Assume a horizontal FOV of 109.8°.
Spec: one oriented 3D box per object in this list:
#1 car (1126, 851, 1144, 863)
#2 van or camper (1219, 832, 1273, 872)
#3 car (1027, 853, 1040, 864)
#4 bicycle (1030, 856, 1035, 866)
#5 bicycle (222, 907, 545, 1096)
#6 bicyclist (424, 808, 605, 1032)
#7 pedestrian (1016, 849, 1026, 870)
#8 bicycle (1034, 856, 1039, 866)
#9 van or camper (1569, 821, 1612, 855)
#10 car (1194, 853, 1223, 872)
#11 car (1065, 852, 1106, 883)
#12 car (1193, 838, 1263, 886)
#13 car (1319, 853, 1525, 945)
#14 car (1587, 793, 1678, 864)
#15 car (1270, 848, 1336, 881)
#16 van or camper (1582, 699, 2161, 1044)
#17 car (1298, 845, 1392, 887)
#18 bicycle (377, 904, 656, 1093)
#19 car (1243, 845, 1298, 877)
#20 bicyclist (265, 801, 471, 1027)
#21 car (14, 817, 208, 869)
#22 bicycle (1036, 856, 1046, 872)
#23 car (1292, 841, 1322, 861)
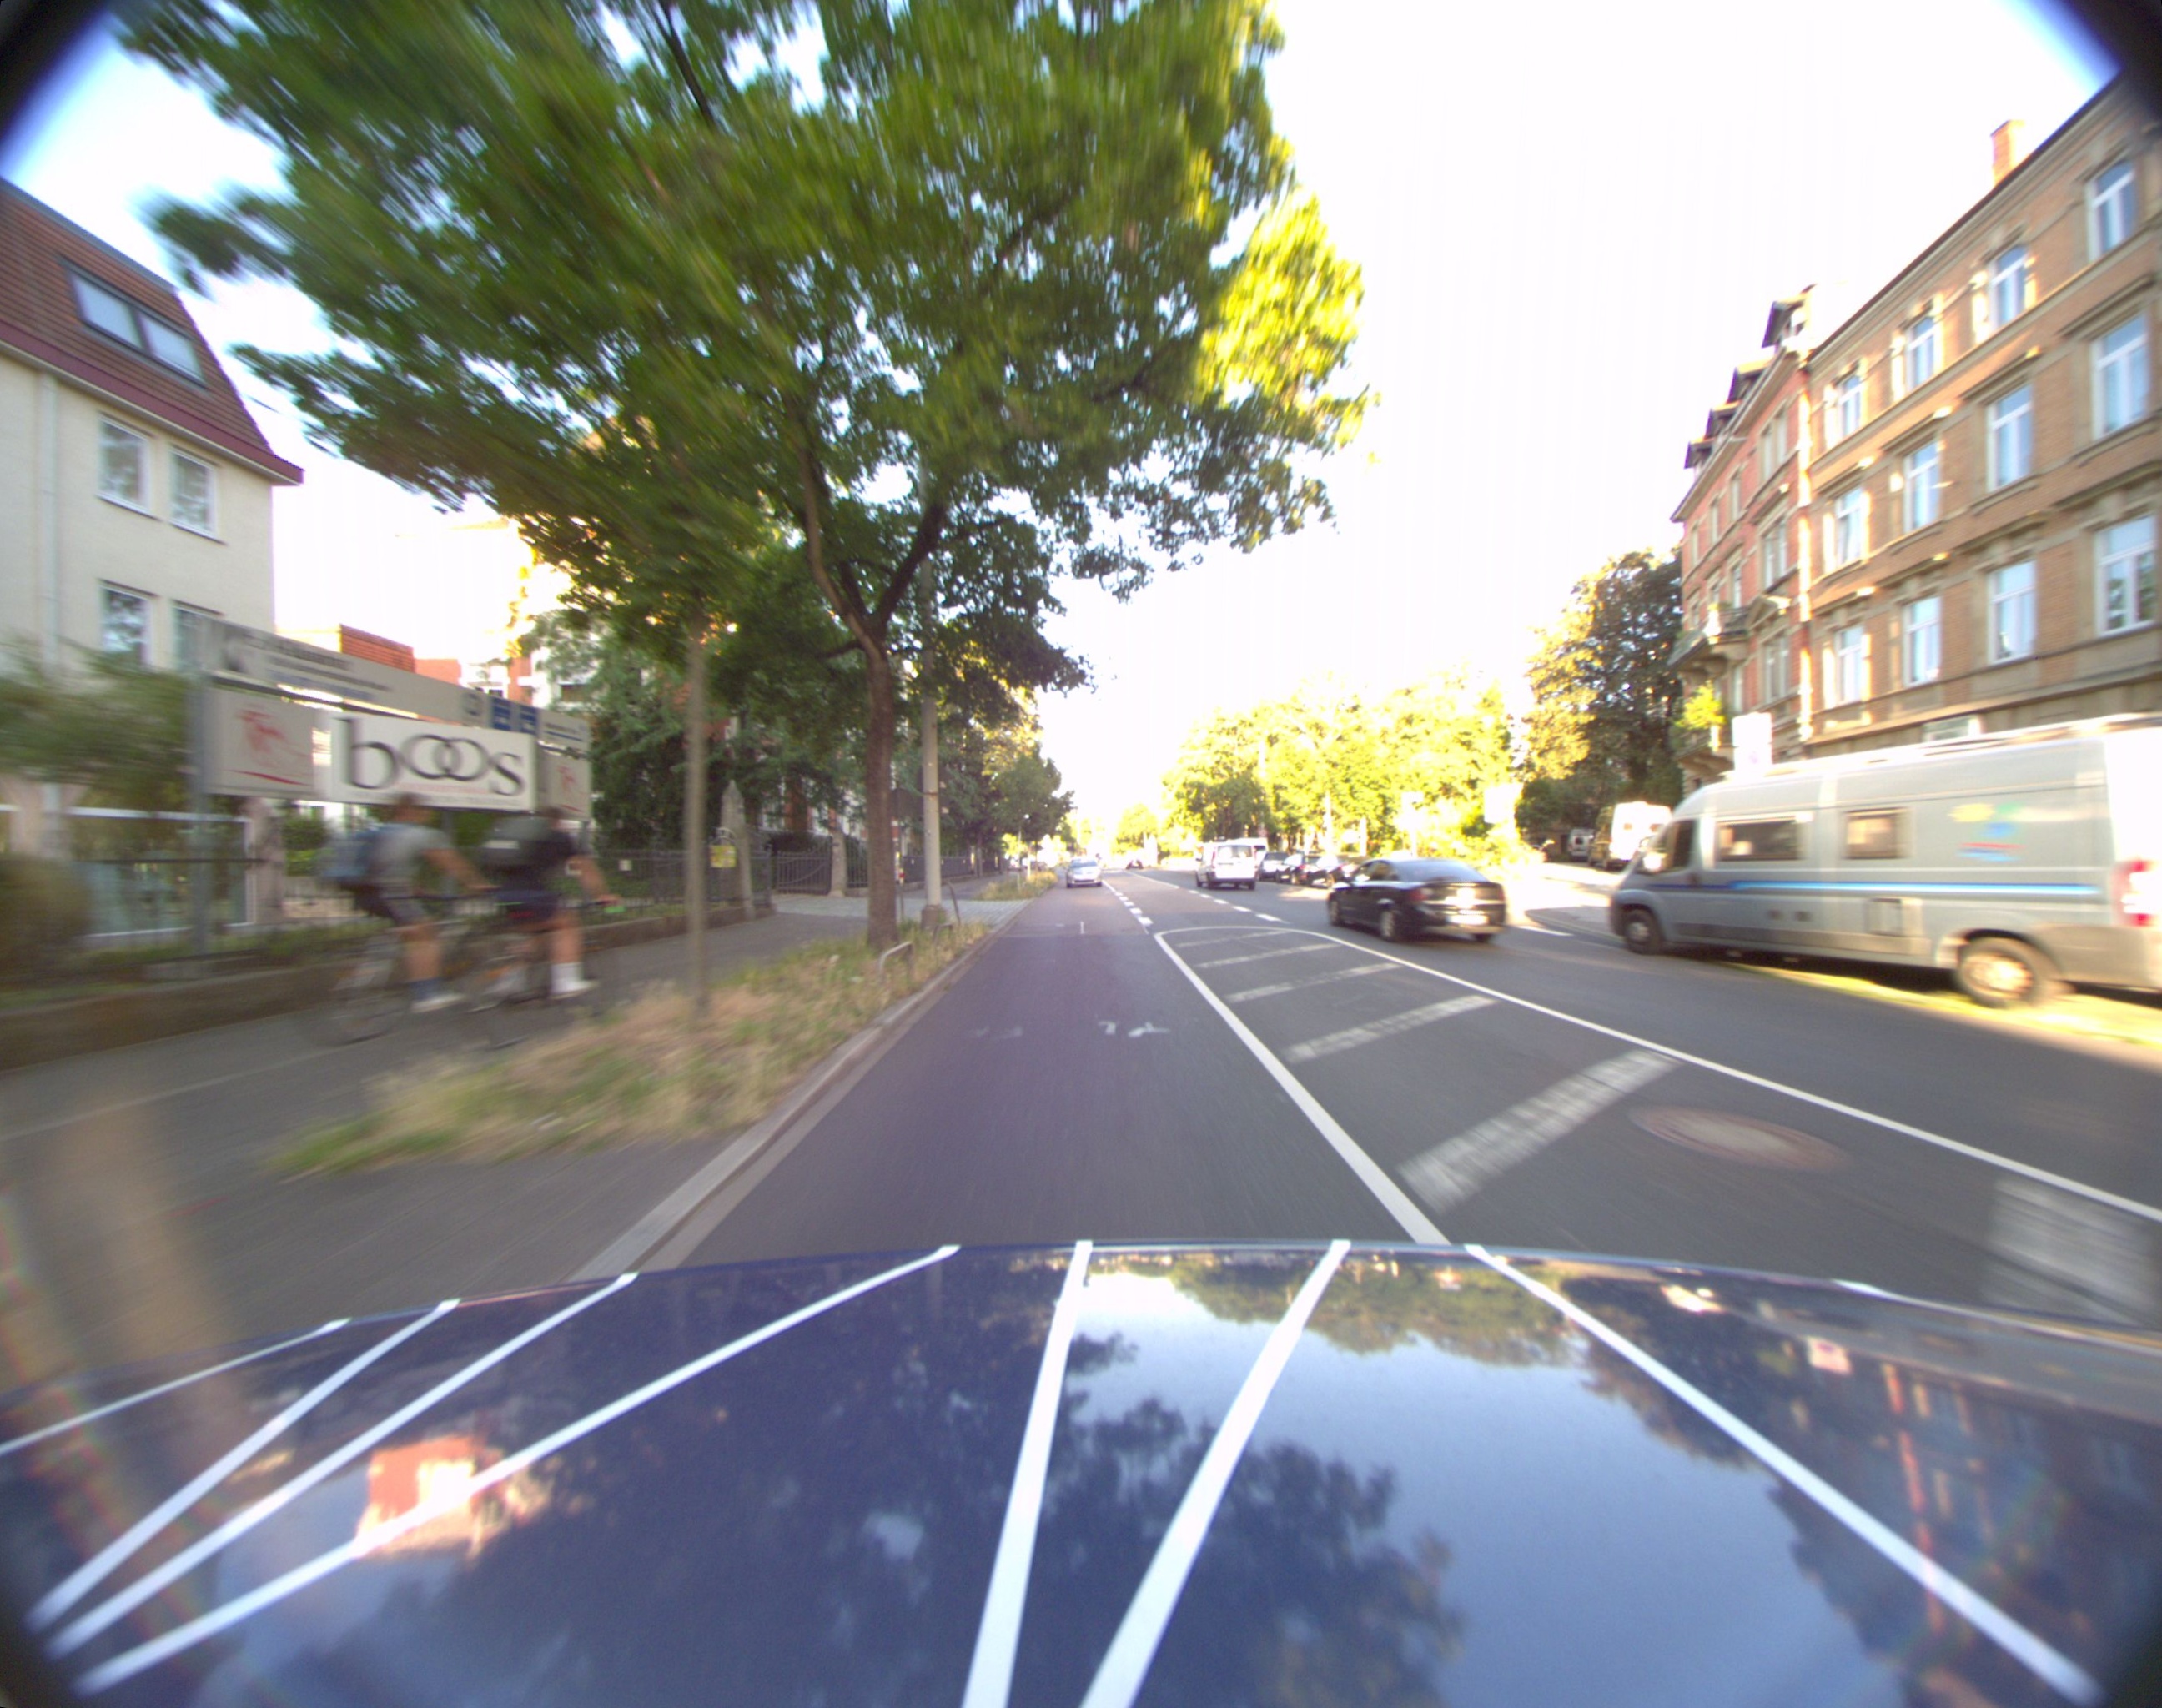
[{"bbox_3d":[6.240,0.348,87.755,1.770,1.394,4.544,-1,0,0],"label":"car"},{"bbox_3d":[10.627,-0.101,49.549,2.096,2.454,6.305,0,0,-1],"label":"van or camper"},{"bbox_3d":[-6.834,0.655,110.046,1.731,1.456,3.545,2,0,-3],"label":"car"},{"bbox_3d":[-6.439,0.888,100.010,0.567,1.268,2.263,3,1,-4],"label":"bicycle"},{"bbox_3d":[-5.181,1.015,5.886,0.518,1.034,2.088,-3,0,0],"label":"bicycle"},{"bbox_3d":[-4.193,0.453,5.695,0.597,1.523,0.893,-3,1,0],"label":"bicyclist"},{"bbox_3d":[-5.188,0.454,65.453,0.748,1.768,0.831,2,0,-6],"label":"pedestrian"},{"bbox_3d":[-5.861,0.909,100.063,0.567,1.292,2.263,3,1,-4],"label":"bicycle"},{"bbox_3d":[36.671,-1.112,54.632,2.204,2.340,5.321,0,0,37],"label":"van or camper"},{"bbox_3d":[10.318,0.675,61.883,1.627,1.498,4.543,-1,0,0],"label":"car"},{"bbox_3d":[0.179,0.674,38.637,1.896,1.454,3.965,0,0,-3],"label":"car"},{"bbox_3d":[6.036,0.296,31.867,1.998,1.821,5.169,0,0,1],"label":"car"},{"bbox_3d":[5.799,0.678,13.572,1.764,1.378,4.304,0,0,0],"label":"car"},{"bbox_3d":[23.050,-0.998,32.004,2.121,2.723,5.319,0,0,25],"label":"car"},{"bbox_3d":[10.388,0.456,35.970,1.740,1.437,4.625,-1,0,0],"label":"car"},{"bbox_3d":[9.058,0.071,8.832,1.999,2.653,6.036,-5,0,-4],"label":"van or camper"},{"bbox_3d":[10.215,0.432,29.813,1.999,1.475,4.828,-1,0,0],"label":"car"},{"bbox_3d":[-4.175,0.991,5.878,0.545,1.034,2.088,-3,0,0],"label":"bicycle"},{"bbox_3d":[10.400,0.365,41.997,1.870,1.635,4.570,0,0,0],"label":"car"},{"bbox_3d":[-5.244,0.414,5.653,0.597,1.523,0.893,-3,1,0],"label":"bicyclist"},{"bbox_3d":[-32.950,-0.369,25.896,4.449,1.477,1.822,3,1,3],"label":"car"},{"bbox_3d":[-3.075,0.758,57.897,0.648,1.160,1.930,-3,0,-4],"label":"bicycle"},{"bbox_3d":[27.062,-0.353,91.227,2.220,2.275,5.099,-2,0,2],"label":"car"}]
